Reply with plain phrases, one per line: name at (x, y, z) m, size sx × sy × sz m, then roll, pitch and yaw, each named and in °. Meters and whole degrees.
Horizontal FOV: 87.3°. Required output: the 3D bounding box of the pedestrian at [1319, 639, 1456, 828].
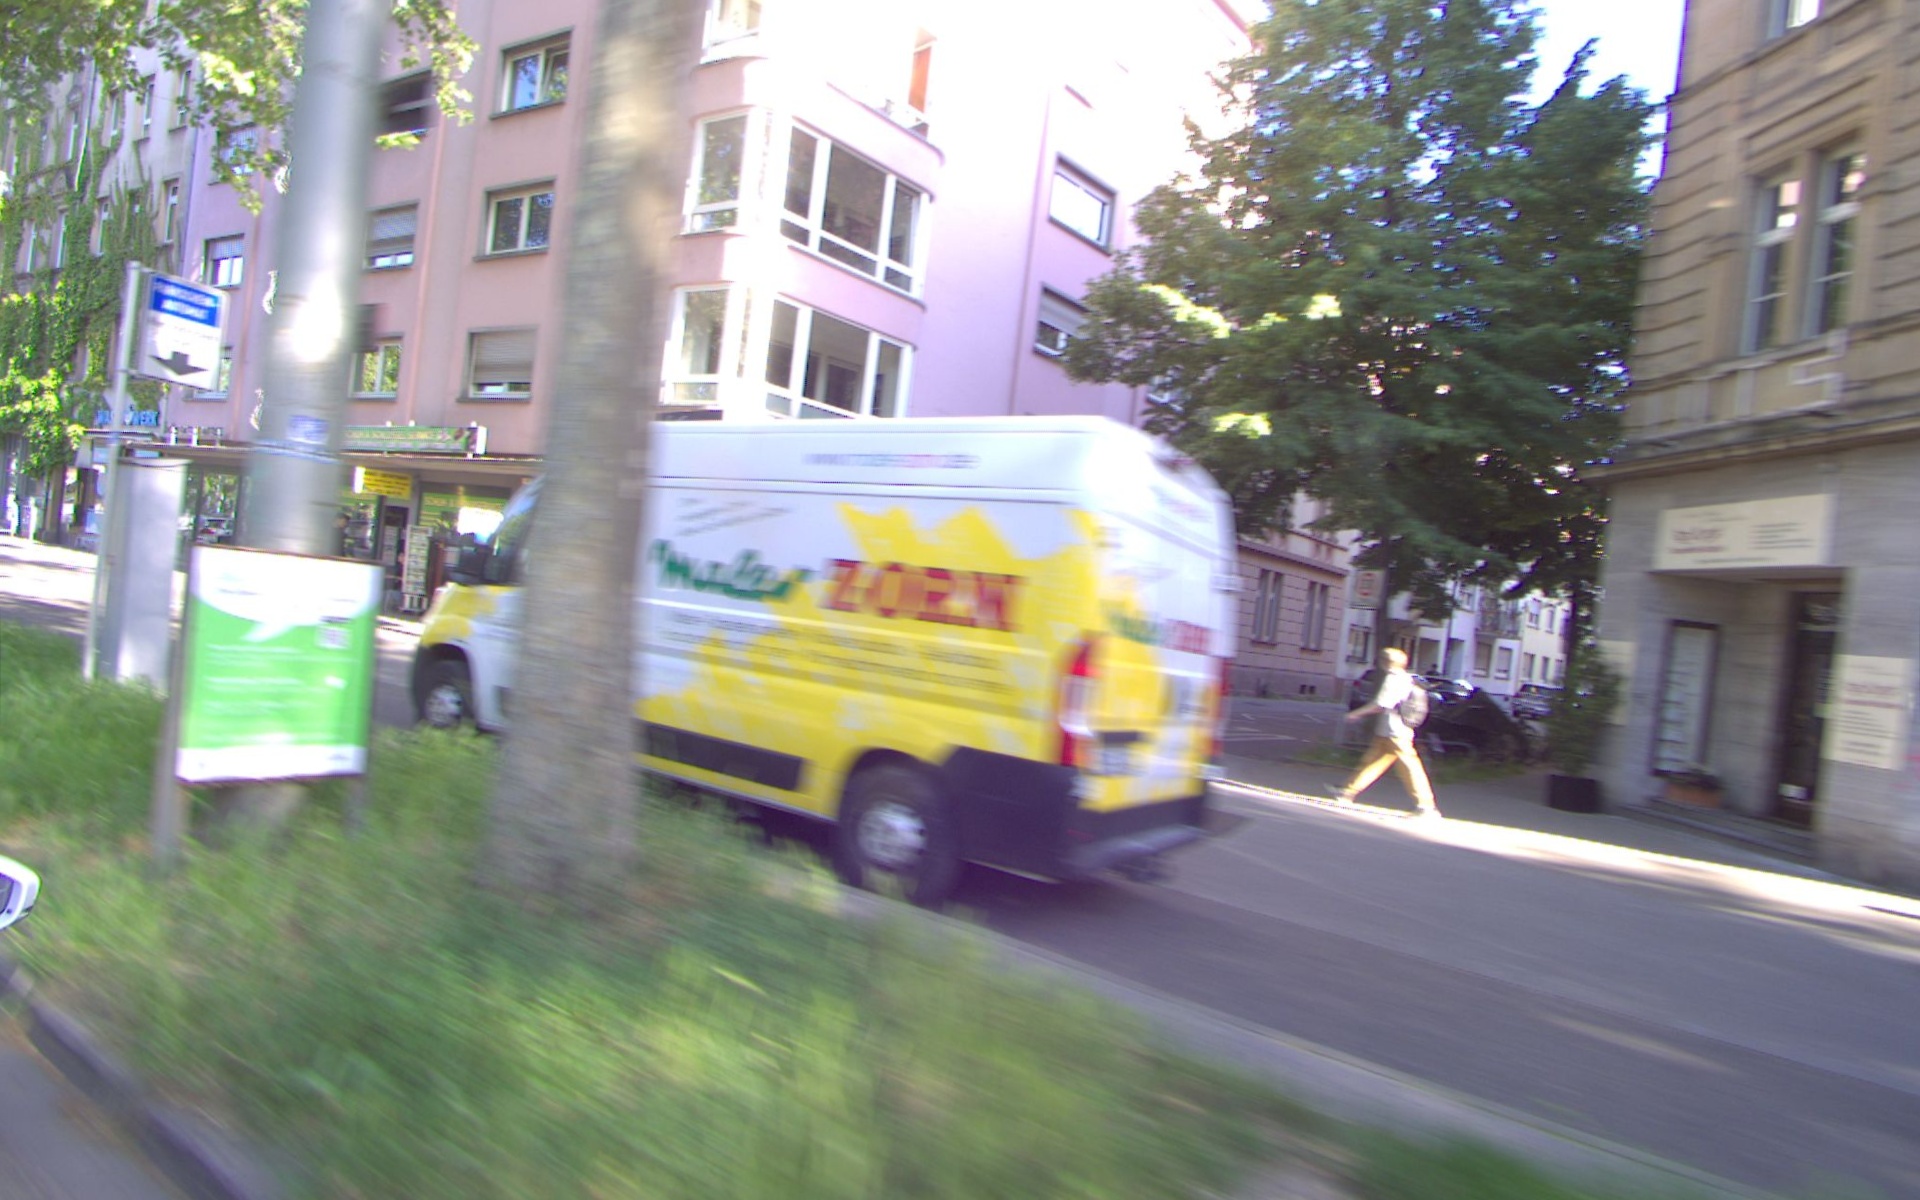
pedestrian at (4.534, 1.376, 10.673) m, size 1.062 × 1.777 × 0.692 m, roll 7°, pitch 1°, yaw 31°

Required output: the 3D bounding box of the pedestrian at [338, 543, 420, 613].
pedestrian at (-11.989, -0.438, 20.770) m, size 0.736 × 1.271 × 1.144 m, roll 8°, pitch 1°, yaw 31°

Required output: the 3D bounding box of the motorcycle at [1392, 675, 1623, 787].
motorcycle at (10.227, 2.440, 18.865) m, size 3.673 × 1.535 × 1.112 m, roll 7°, pitch 1°, yaw -6°

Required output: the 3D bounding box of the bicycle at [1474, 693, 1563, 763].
bicycle at (12.180, 2.765, 22.019) m, size 0.603 × 1.217 × 1.830 m, roll 7°, pitch 0°, yaw -8°

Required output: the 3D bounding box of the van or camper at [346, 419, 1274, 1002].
van or camper at (-1.379, 0.286, 6.915) m, size 6.166 × 2.508 × 2.188 m, roll 7°, pitch -2°, yaw 33°

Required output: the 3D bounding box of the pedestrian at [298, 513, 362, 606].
pedestrian at (-13.406, -0.860, 21.410) m, size 0.798 × 1.843 × 0.686 m, roll 8°, pitch 1°, yaw 30°

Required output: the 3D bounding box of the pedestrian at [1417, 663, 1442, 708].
pedestrian at (18.788, 3.428, 40.263) m, size 0.623 × 1.734 × 0.502 m, roll 7°, pitch 1°, yaw 38°

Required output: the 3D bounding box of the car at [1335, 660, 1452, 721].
car at (13.838, 2.903, 32.007) m, size 1.973 × 1.549 × 4.258 m, roll 8°, pitch 0°, yaw 43°

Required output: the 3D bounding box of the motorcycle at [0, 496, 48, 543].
motorcycle at (-30.149, -2.613, 31.721) m, size 1.866 × 1.282 × 0.558 m, roll 9°, pitch -2°, yaw -13°

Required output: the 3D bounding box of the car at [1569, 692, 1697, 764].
car at (18.681, 3.544, 27.858) m, size 4.082 × 1.557 × 1.962 m, roll 8°, pitch 0°, yaw -43°

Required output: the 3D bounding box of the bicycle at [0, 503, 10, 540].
bicycle at (-32.088, -2.680, 32.954) m, size 2.361 × 1.148 × 0.887 m, roll 7°, pitch 1°, yaw 35°

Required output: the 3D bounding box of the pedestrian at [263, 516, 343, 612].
pedestrian at (-12.912, -0.697, 19.781) m, size 0.799 × 1.730 × 0.924 m, roll 8°, pitch 1°, yaw 32°

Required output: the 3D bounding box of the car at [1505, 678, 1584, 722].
car at (25.662, 4.403, 44.118) m, size 1.973 × 1.549 × 4.258 m, roll 8°, pitch 0°, yaw 43°
